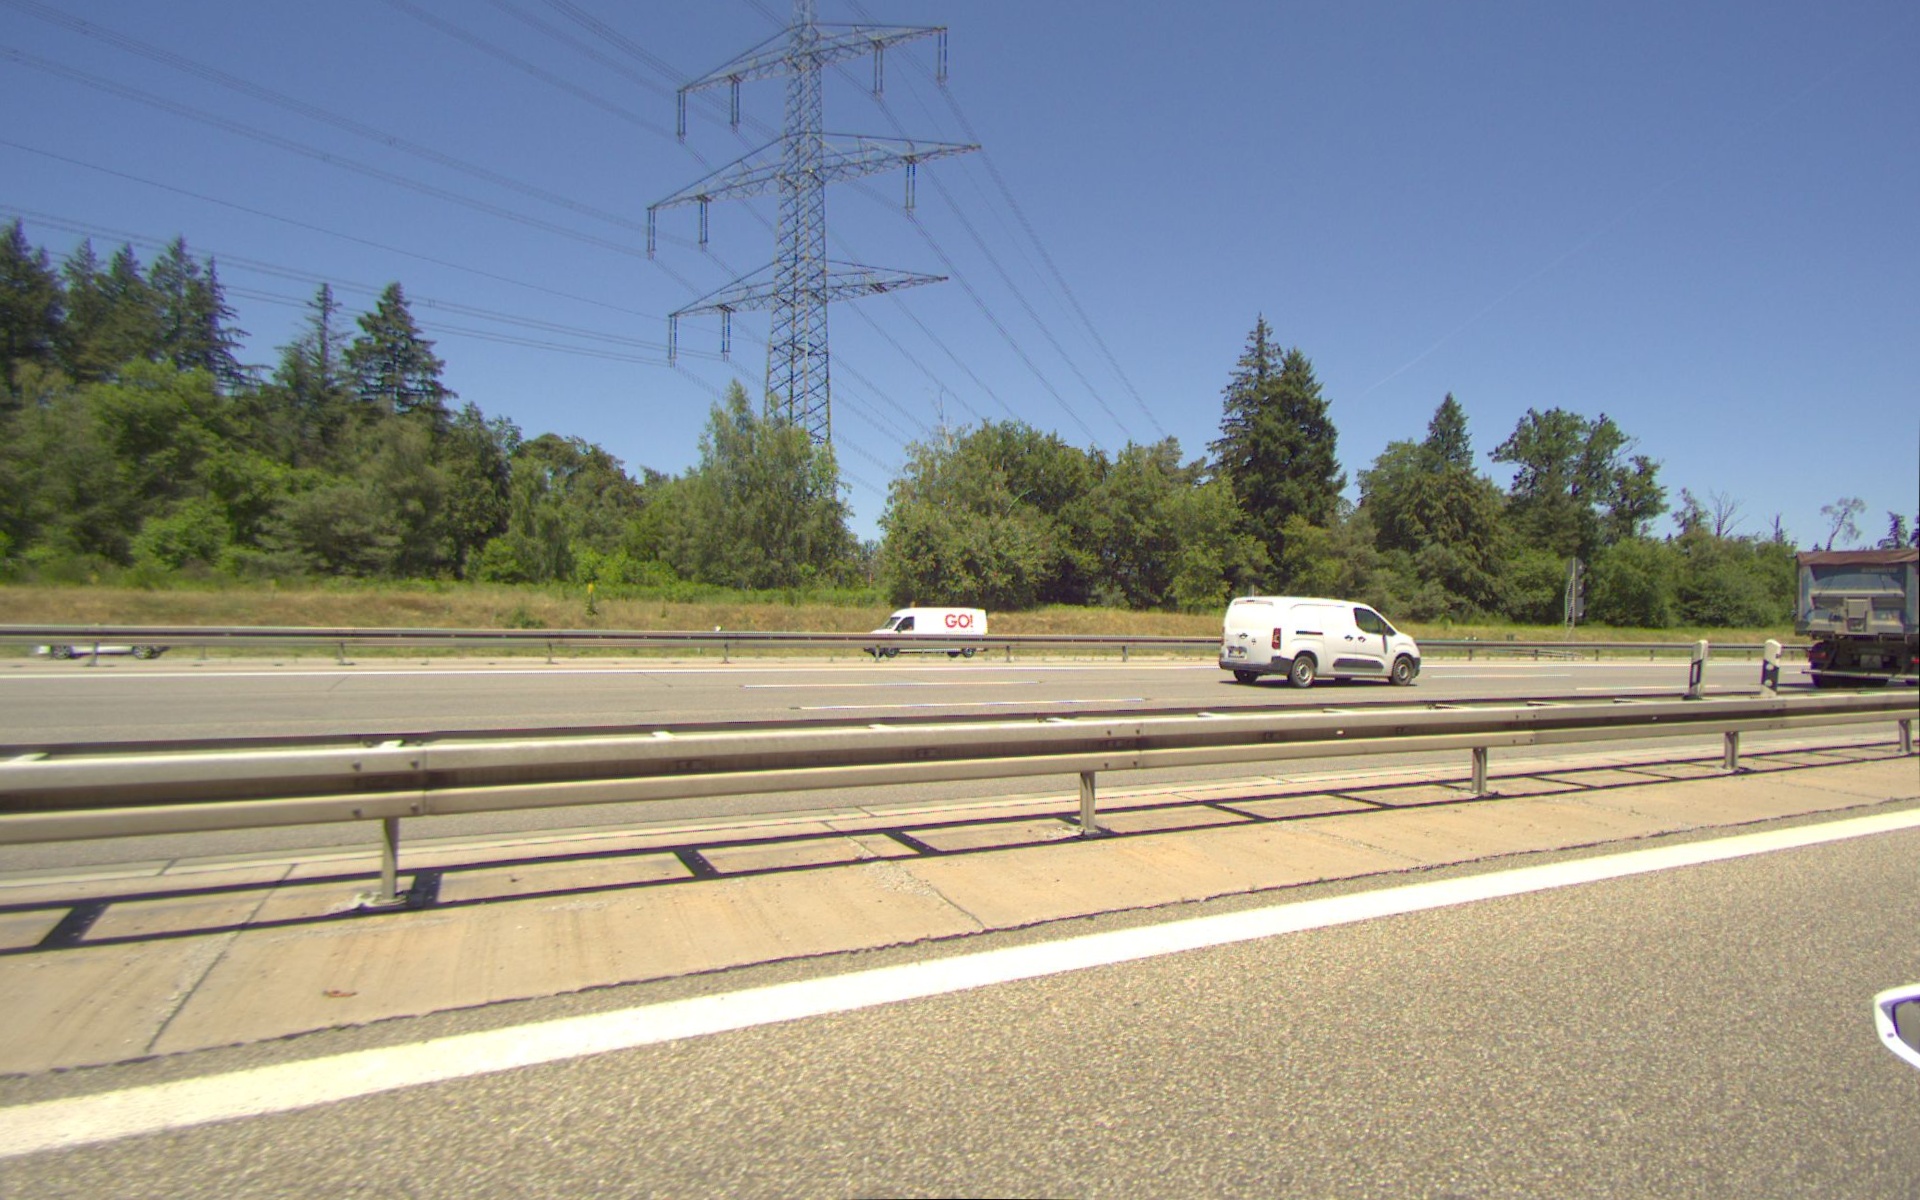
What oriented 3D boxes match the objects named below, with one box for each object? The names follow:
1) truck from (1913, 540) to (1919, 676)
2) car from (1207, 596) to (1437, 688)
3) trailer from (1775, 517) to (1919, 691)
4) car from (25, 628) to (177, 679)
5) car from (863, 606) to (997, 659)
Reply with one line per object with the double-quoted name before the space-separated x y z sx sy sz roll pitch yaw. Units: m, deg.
"truck" 29.670 0.269 28.355 4.564 3.858 2.745 1 -1 -28
"car" 7.775 0.888 21.462 4.957 1.777 1.765 2 -1 -28
"trailer" 24.933 0.175 25.760 9.763 3.858 2.759 1 -1 -29
"car" -32.498 2.047 38.162 3.951 1.806 1.985 3 -1 -29
"car" -1.558 1.726 52.882 6.825 2.577 1.986 3 -1 -27
